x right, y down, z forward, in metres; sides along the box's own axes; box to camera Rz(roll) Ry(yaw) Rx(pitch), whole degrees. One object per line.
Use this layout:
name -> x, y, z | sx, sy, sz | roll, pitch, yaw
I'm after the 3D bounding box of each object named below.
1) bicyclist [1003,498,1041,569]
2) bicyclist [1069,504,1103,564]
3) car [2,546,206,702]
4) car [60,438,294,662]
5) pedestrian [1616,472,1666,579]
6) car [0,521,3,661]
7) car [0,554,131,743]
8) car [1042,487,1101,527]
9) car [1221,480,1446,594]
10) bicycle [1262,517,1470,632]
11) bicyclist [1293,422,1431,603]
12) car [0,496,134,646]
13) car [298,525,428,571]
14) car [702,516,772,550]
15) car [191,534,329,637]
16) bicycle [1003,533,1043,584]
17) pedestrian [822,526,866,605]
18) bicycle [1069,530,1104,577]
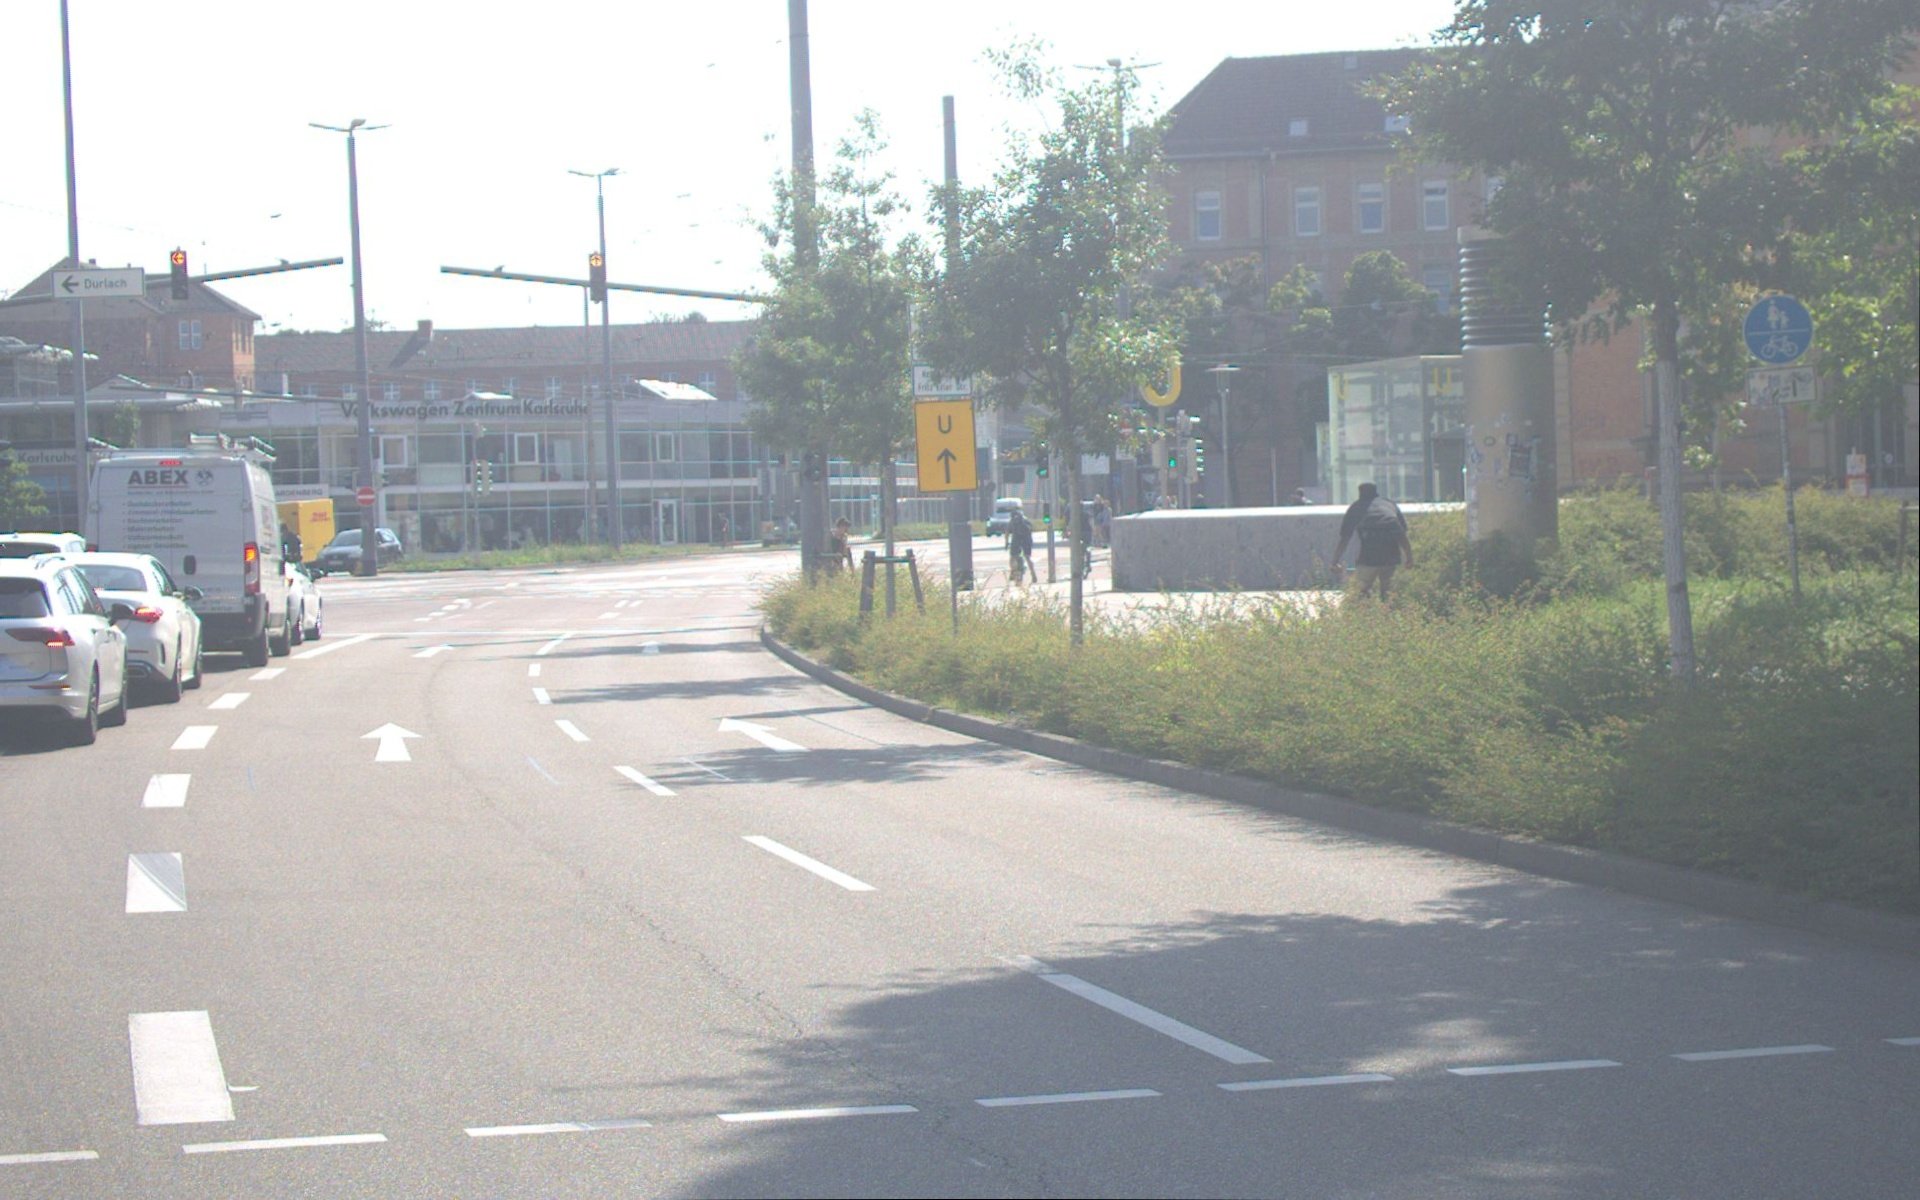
bicyclist -> 1.356, -1.446, 75.124 | 0.713, 1.524, 0.806 | -2, 1, 5
bicyclist -> 2.956, -1.543, 80.562 | 0.706, 1.389, 0.829 | -1, 1, 5
car -> -8.253, 0.195, 33.400 | 1.488, 1.398, 3.943 | -1, 1, -8
car -> -9.494, -0.605, 42.067 | 2.188, 2.540, 4.684 | -1, 1, -6
pedestrian -> 10.446, -1.144, 52.755 | 0.614, 1.623, 0.534 | -2, 1, -1
car -> -12.686, -0.182, 40.490 | 2.023, 2.001, 4.685 | -1, 1, -7
car -> -7.586, 0.350, 27.085 | 1.684, 1.383, 3.635 | -1, 1, -8
car -> 5.843, -4.872, 179.546 | 2.413, 2.006, 4.777 | -1, 2, 9
car -> 7.193, -1.245, 66.096 | 3.986, 2.006, 1.754 | -2, 4, -27
bicycle -> 3.605, -0.235, 30.731 | 0.772, 0.972, 2.150 | -2, 2, -27
bicyclist -> 3.588, -0.781, 30.719 | 0.772, 1.573, 0.991 | -2, 2, -27
car -> -13.009, -0.428, 48.669 | 2.023, 2.001, 4.685 | -1, 1, -7
car -> -19.135, -1.667, 110.149 | 3.964, 1.337, 1.931 | -2, 2, -14
car -> -10.217, -3.084, 157.947 | 1.995, 1.437, 3.997 | -1, 2, 15
car -> -10.196, -0.240, 50.243 | 1.637, 1.398, 3.688 | -1, 1, -7
bicycle -> 1.380, -0.922, 75.122 | 0.706, 1.057, 1.982 | -1, 1, 5
pedestrian -> -2.011, -0.602, 59.633 | 0.636, 1.357, 0.634 | -2, 1, -12
bicycle -> 2.968, -1.093, 80.552 | 0.706, 1.057, 1.982 | -1, 1, 5
